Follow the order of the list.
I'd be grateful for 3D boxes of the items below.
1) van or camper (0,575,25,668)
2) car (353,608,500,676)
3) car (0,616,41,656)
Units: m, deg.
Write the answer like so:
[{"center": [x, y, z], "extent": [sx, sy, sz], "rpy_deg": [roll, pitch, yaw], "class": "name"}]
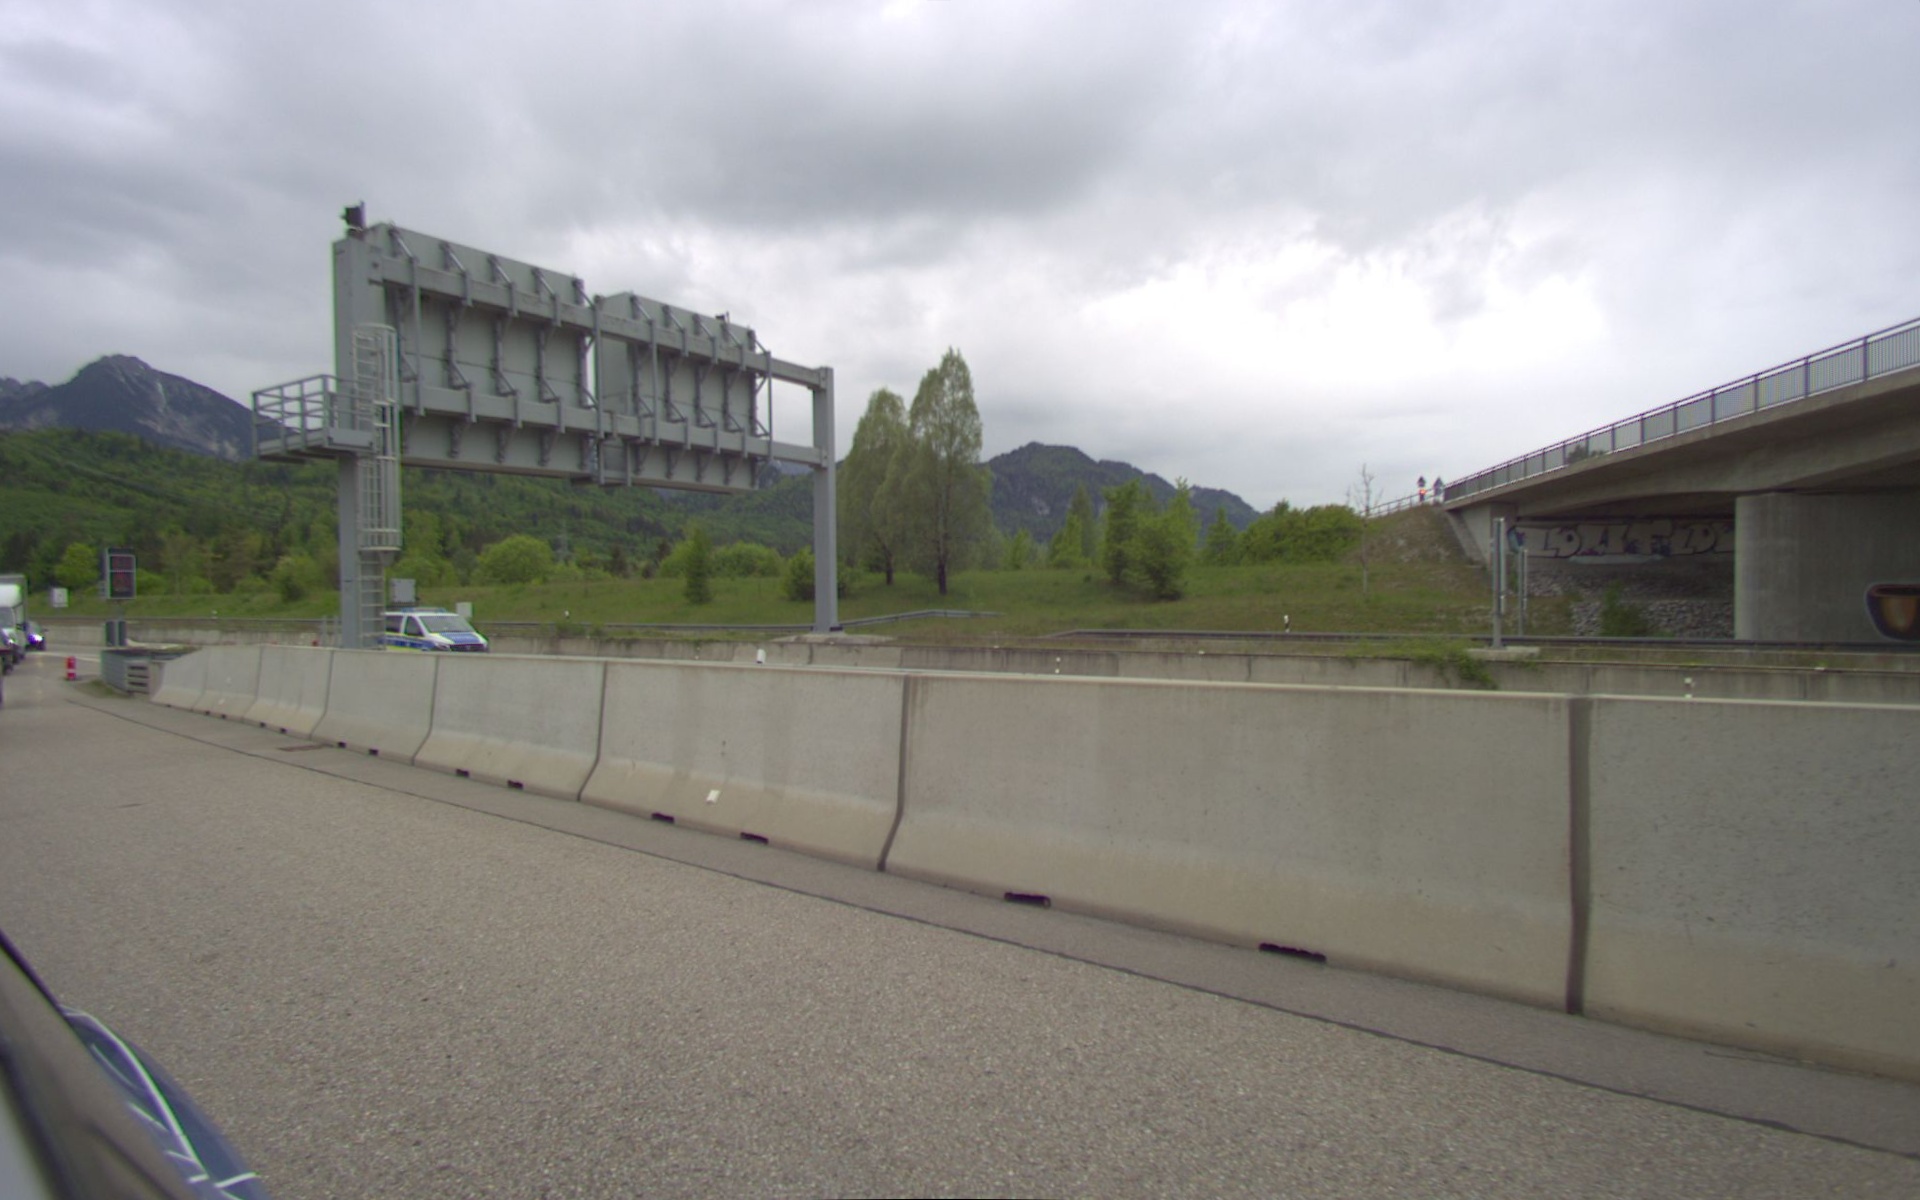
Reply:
[{"center": [-38.287, 0.828, 39.546], "extent": [2.545, 3.417, 7.363], "rpy_deg": [1, -2, -43], "class": "van or camper"}, {"center": [-17.391, 1.315, 32.906], "extent": [5.038, 2.029, 2.081], "rpy_deg": [-1, -1, 34], "class": "car"}, {"center": [-45.094, 1.694, 48.233], "extent": [1.718, 1.778, 4.003], "rpy_deg": [-3, 1, -44], "class": "car"}]
